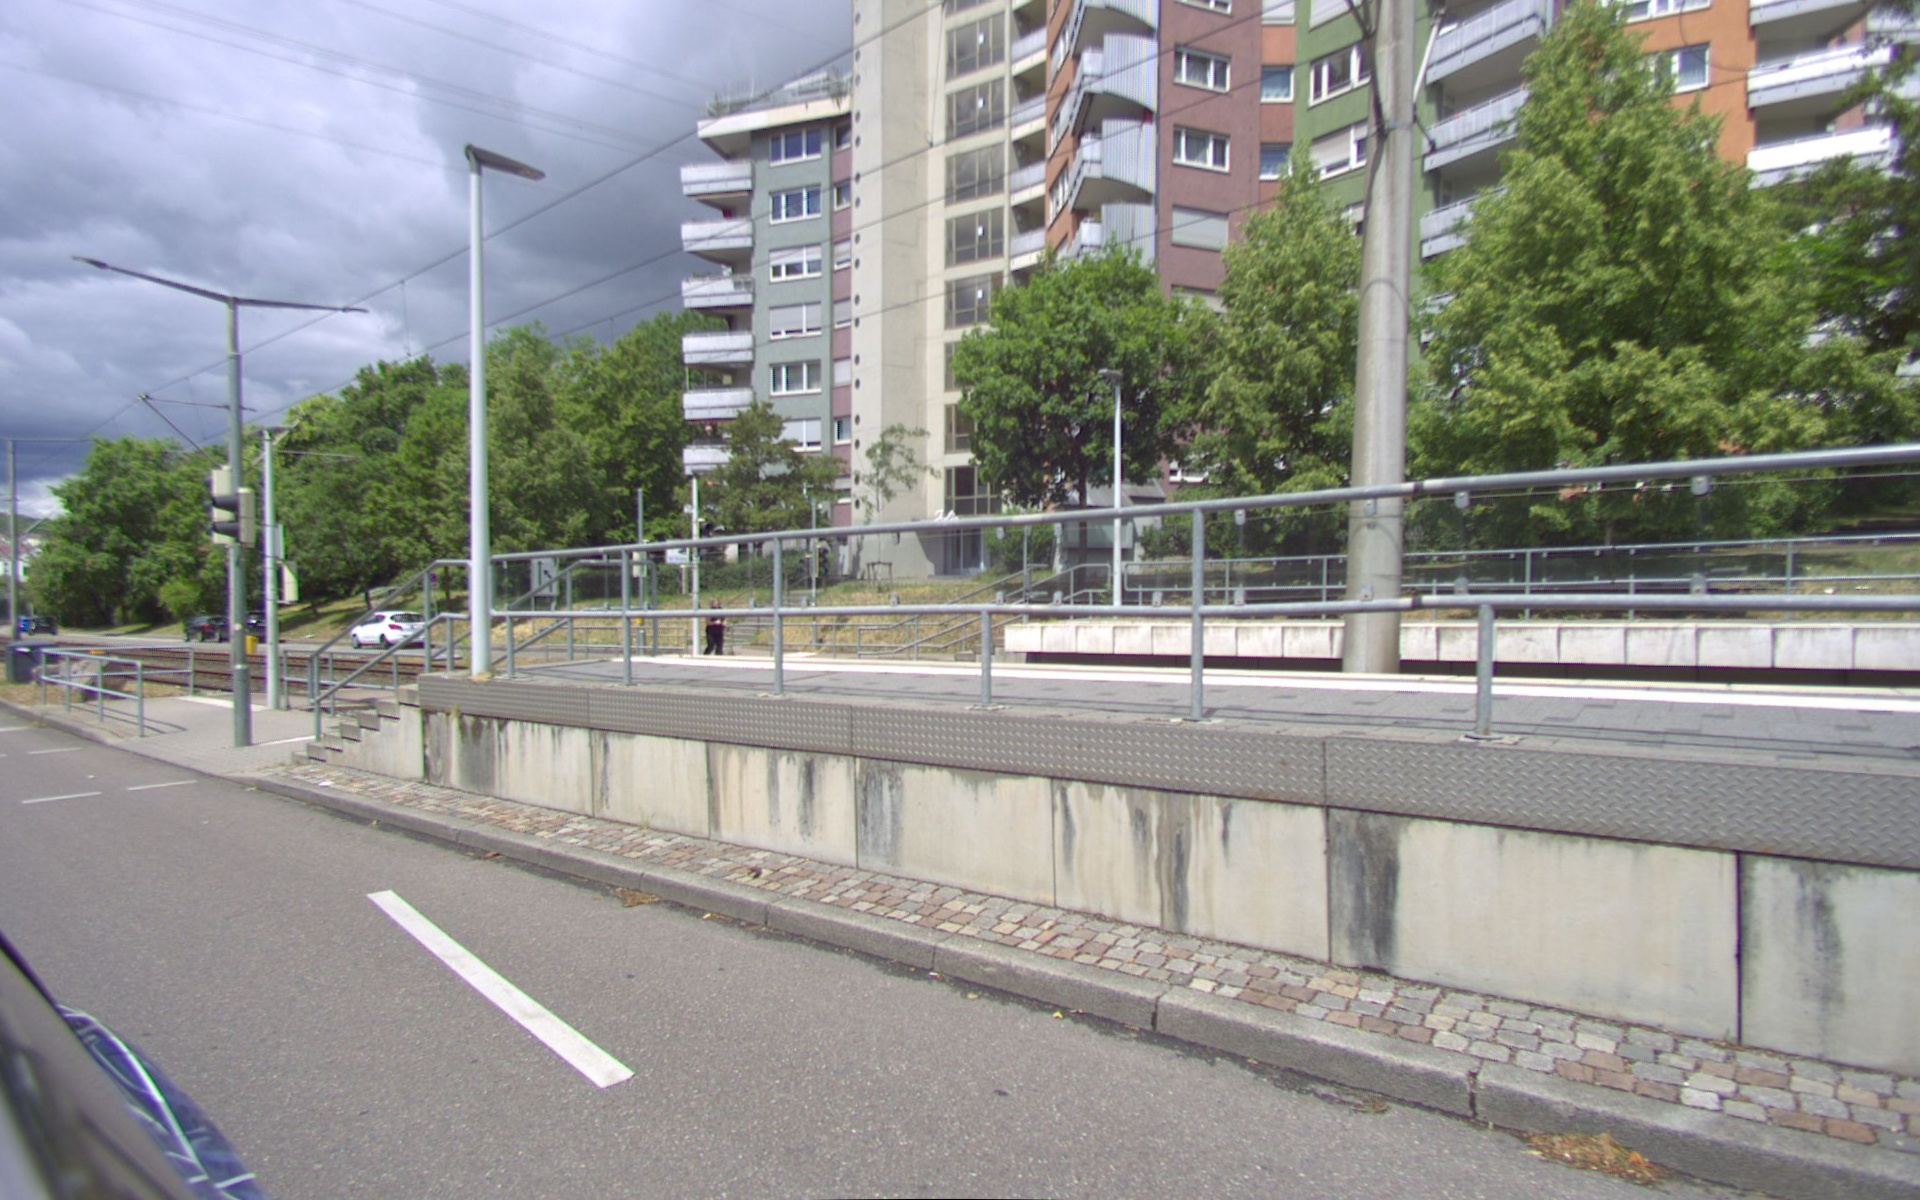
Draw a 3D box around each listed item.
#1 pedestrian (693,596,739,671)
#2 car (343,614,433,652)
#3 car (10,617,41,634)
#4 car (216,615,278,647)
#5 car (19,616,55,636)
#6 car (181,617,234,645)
[{"bbox_3d":[-5.289,0.705,21.907,0.679,1.575,0.826,-2,0,-34],"label":"pedestrian"},{"bbox_3d":[-22.931,1.295,40.513,3.992,1.429,1.640,-1,-1,36],"label":"car"},{"bbox_3d":[-86.047,2.346,93.186,3.734,1.466,1.615,-1,-1,40],"label":"car"},{"bbox_3d":[-36.003,1.549,51.083,3.734,1.524,1.638,-1,-1,40],"label":"car"},{"bbox_3d":[-74.369,2.111,81.489,3.734,1.524,1.638,-1,-1,40],"label":"car"},{"bbox_3d":[-41.284,1.706,55.508,3.466,1.451,1.585,-1,0,40],"label":"car"}]
